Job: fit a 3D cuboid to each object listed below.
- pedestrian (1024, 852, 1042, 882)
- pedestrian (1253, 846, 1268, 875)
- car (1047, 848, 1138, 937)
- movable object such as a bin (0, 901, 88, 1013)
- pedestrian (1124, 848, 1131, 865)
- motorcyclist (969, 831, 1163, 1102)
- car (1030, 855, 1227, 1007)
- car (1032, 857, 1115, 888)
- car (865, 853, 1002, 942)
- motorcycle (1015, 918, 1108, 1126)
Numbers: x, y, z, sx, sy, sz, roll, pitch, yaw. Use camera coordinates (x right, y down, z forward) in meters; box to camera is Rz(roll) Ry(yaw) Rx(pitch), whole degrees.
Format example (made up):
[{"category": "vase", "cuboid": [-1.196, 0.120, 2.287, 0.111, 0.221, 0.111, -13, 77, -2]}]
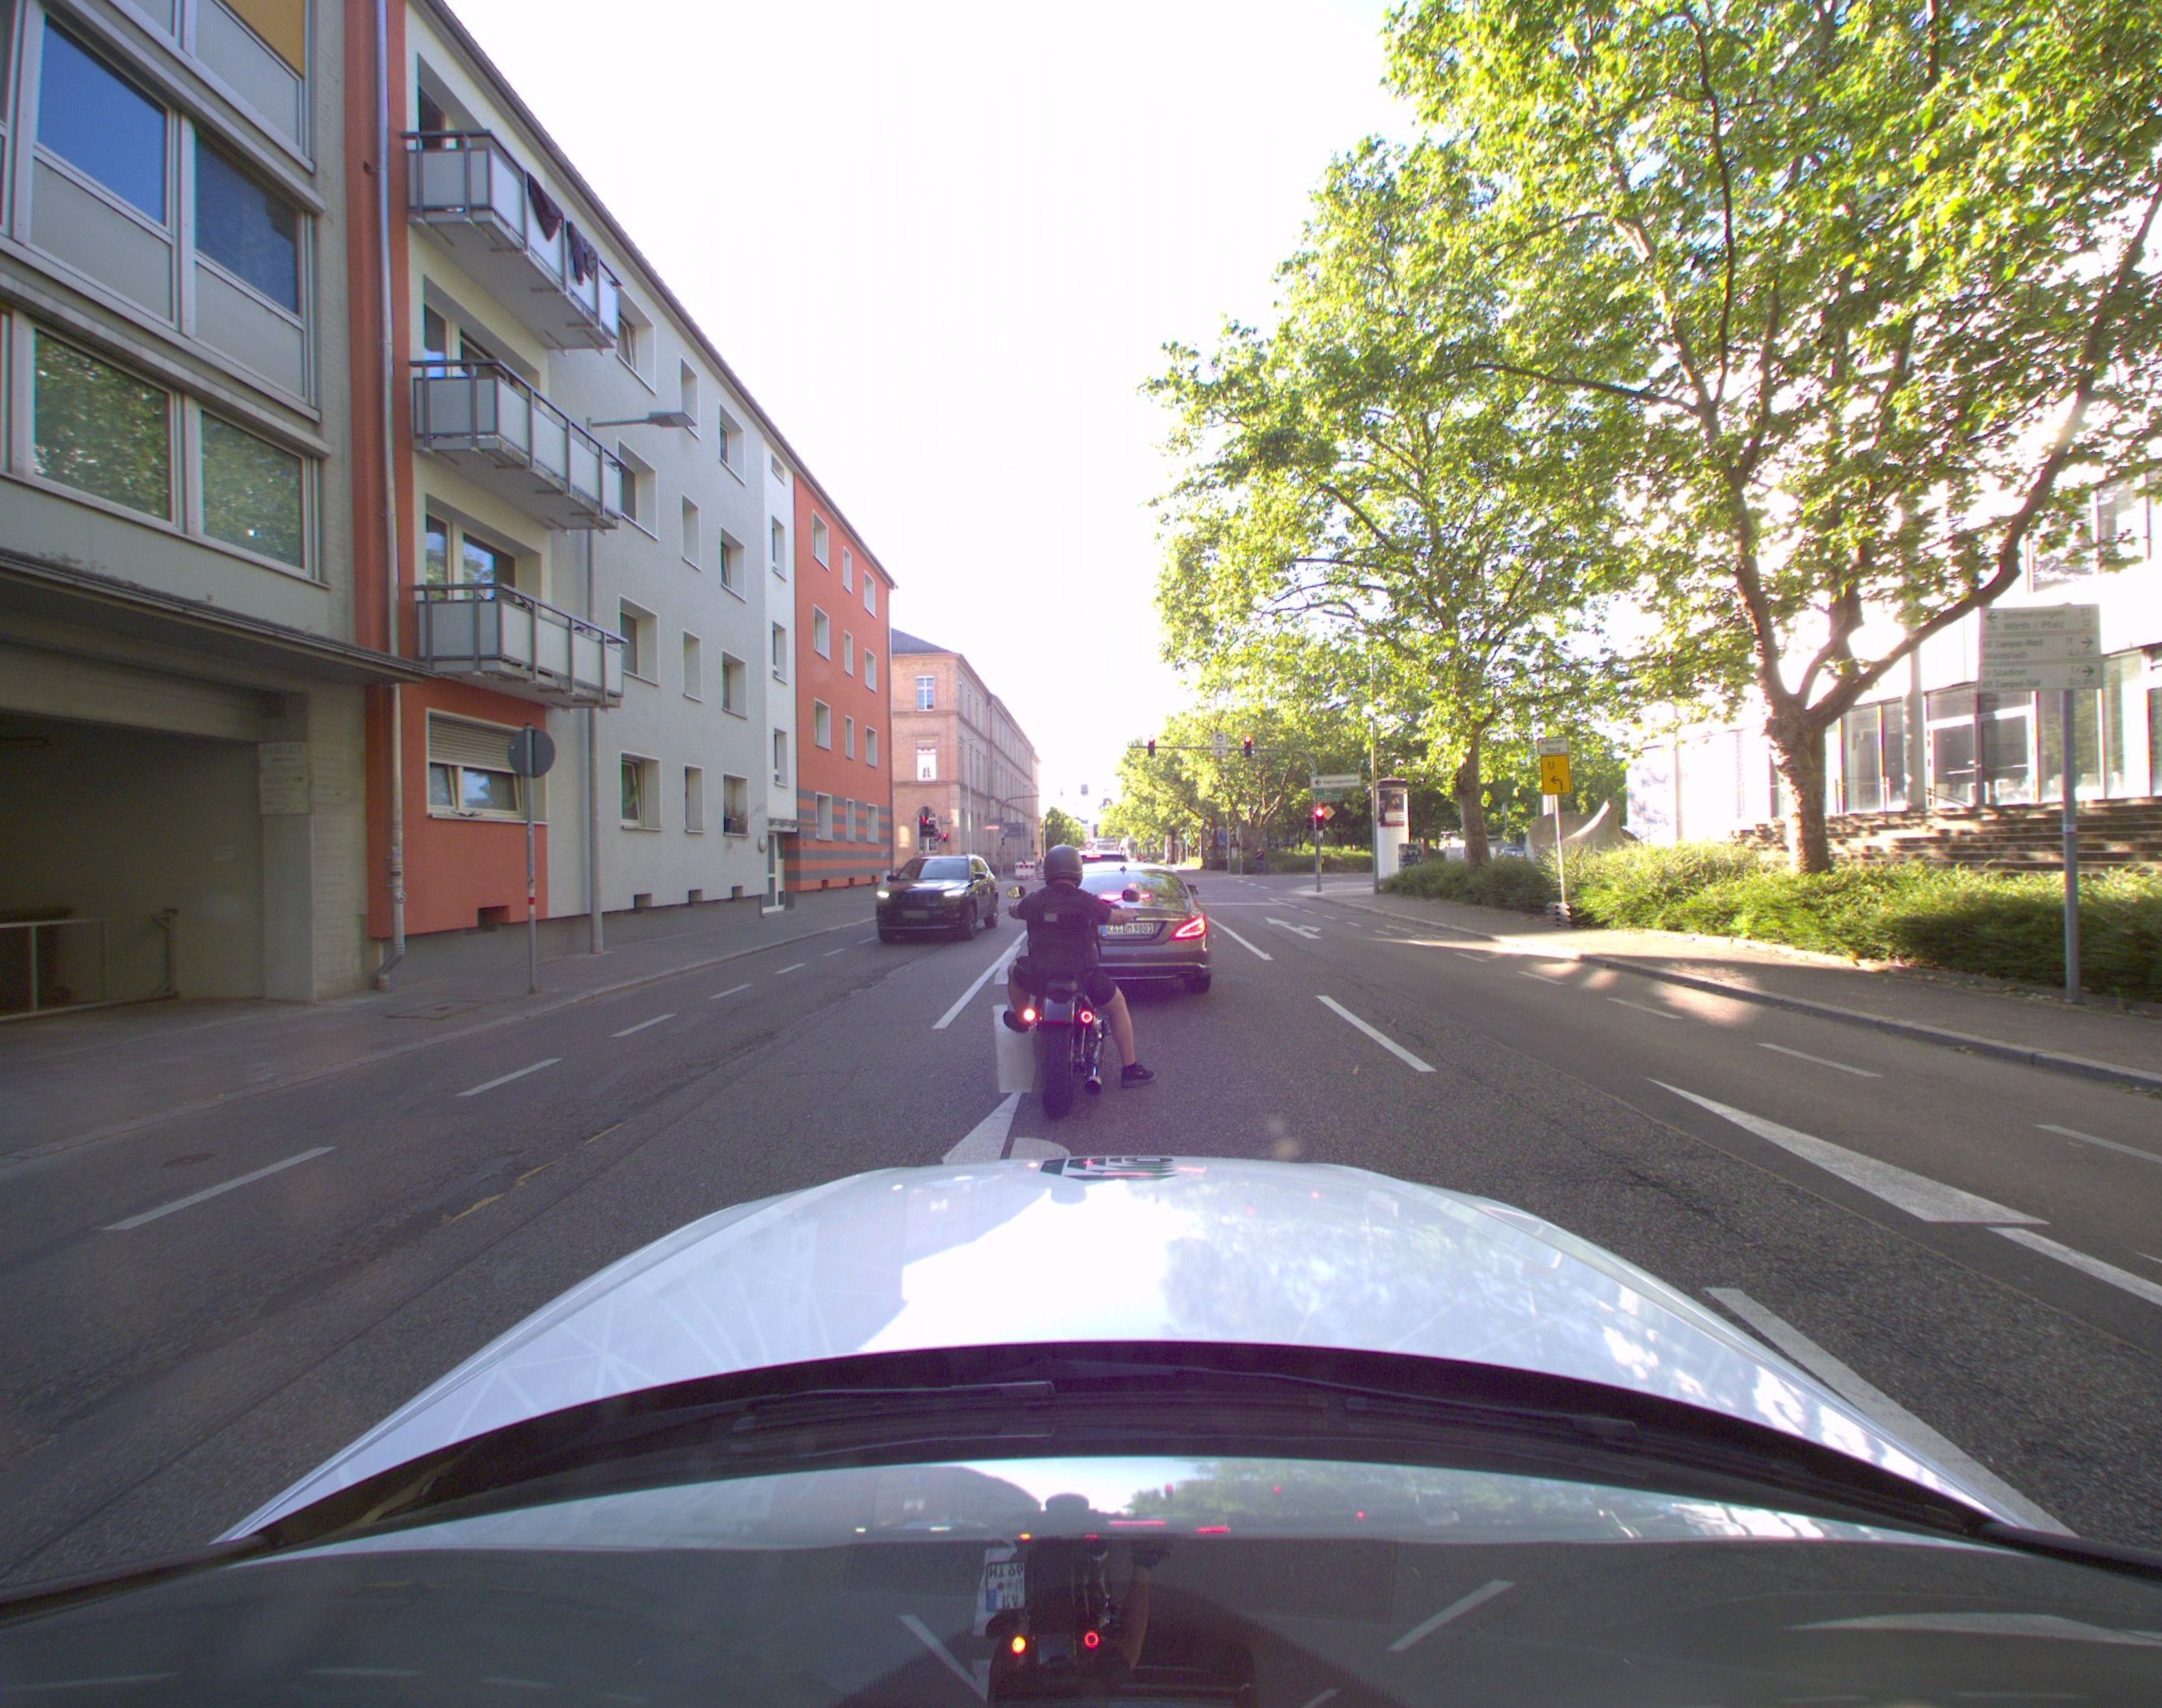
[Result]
[{"category": "pedestrian", "cuboid": [-3.038, 0.825, 51.645, 0.997, 1.826, 1.077, 0, -1, 3]}, {"category": "pedestrian", "cuboid": [11.683, 0.424, 53.069, 0.916, 1.910, 0.755, -1, -1, 13]}, {"category": "car", "cuboid": [0.275, 0.696, 16.864, 1.615, 1.594, 4.002, -1, 0, 2]}, {"category": "movable object such as a bin", "cuboid": [-11.258, 1.068, 8.640, 0.626, 1.100, 0.659, 0, -1, 4]}, {"category": "pedestrian", "cuboid": [5.737, 0.292, 100.942, 0.761, 2.051, 0.712, 0, -1, 1]}, {"category": "motorcyclist", "cuboid": [-0.071, 0.674, 5.487, 1.145, 1.598, 1.288, 0, -1, 1]}, {"category": "car", "cuboid": [0.516, 0.742, 9.735, 1.875, 1.449, 3.821, 0, 0, 2]}, {"category": "car", "cuboid": [-0.392, 0.960, 43.926, 4.148, 1.575, 1.840, 0, -1, -30]}, {"category": "car", "cuboid": [-2.817, 0.784, 16.567, 1.843, 1.570, 4.387, 0, -1, 2]}, {"category": "motorcycle", "cuboid": [-0.076, 1.007, 5.506, 0.511, 1.002, 2.014, 0, -1, 2]}]
